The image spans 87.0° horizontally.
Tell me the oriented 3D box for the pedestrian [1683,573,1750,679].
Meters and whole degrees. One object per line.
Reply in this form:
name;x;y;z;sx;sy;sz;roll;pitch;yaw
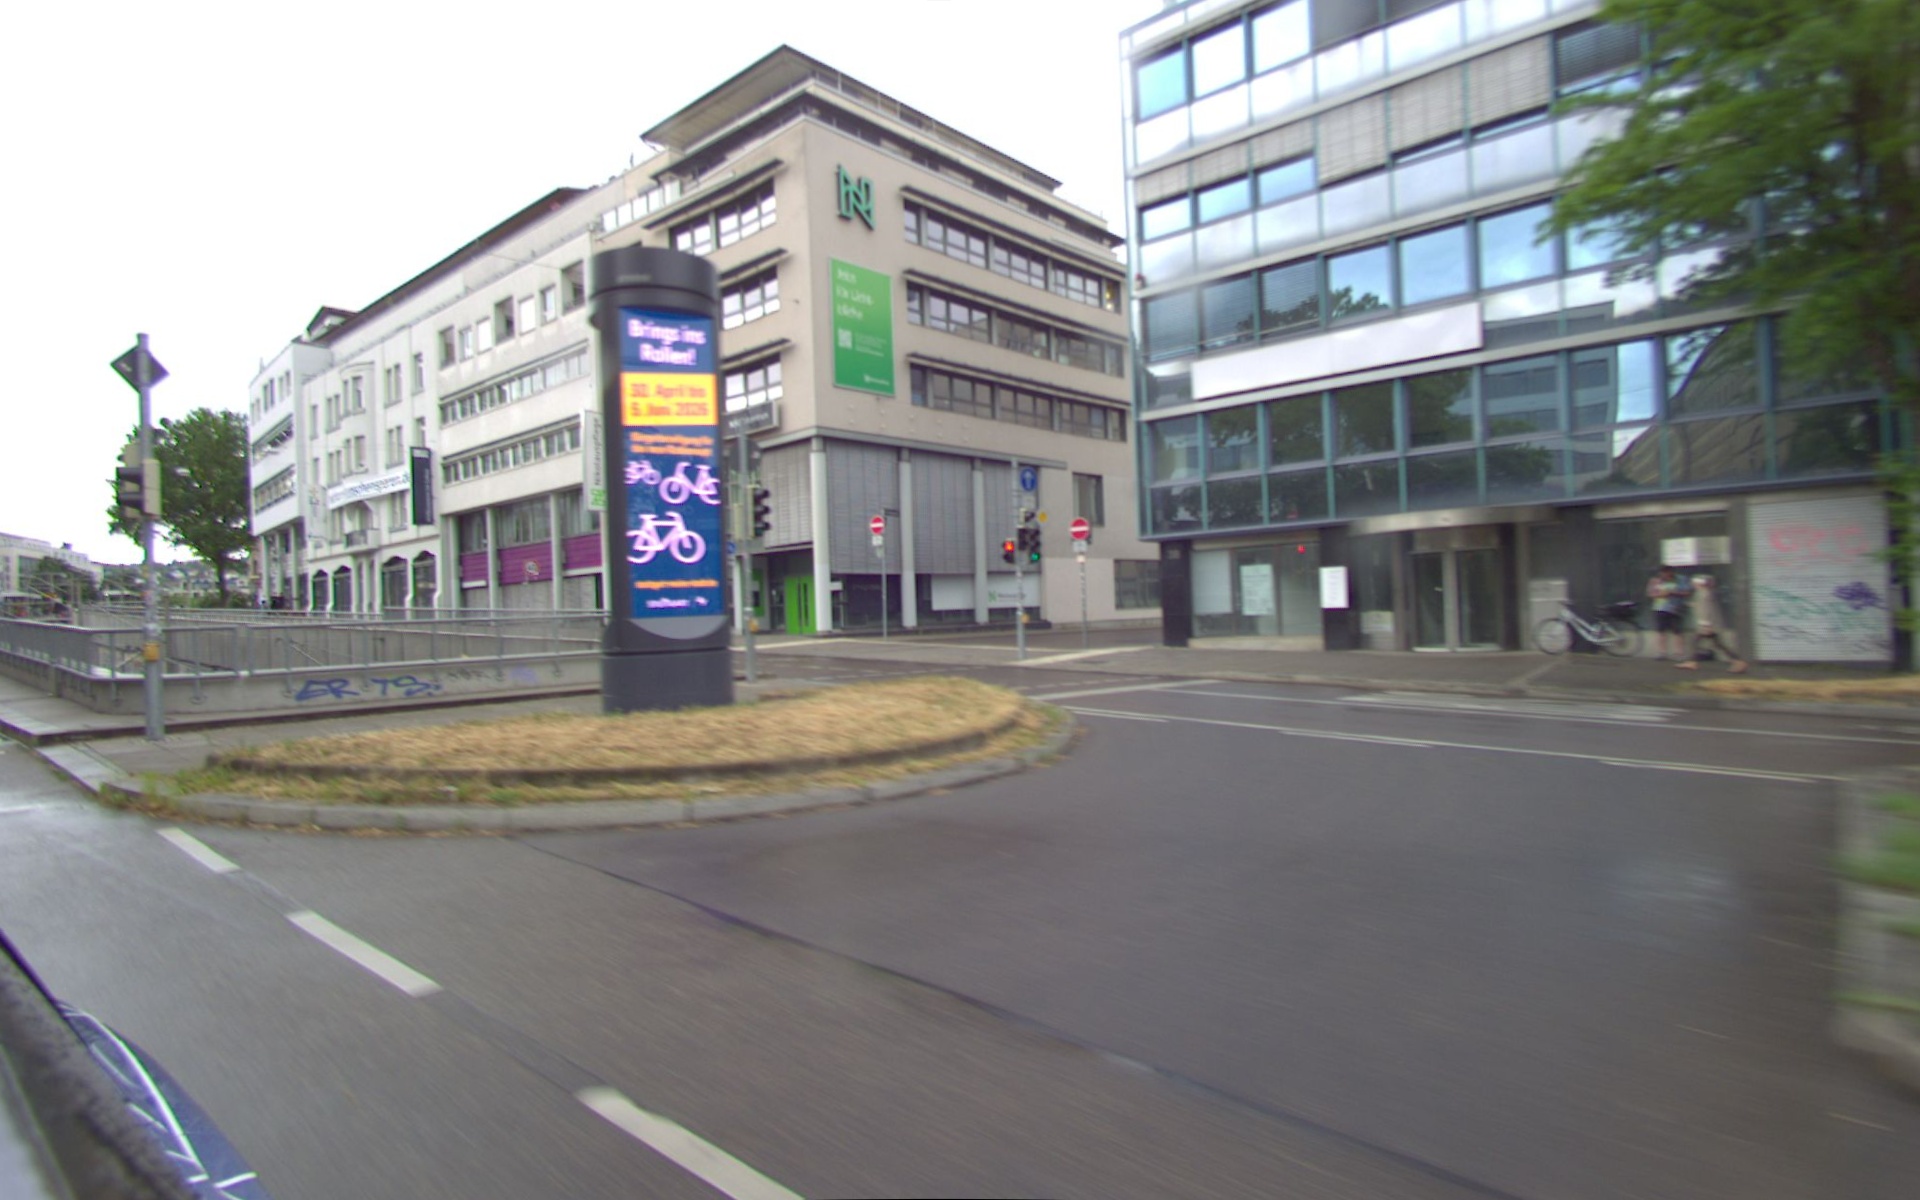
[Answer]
pedestrian;12.871;0.424;17.224;0.876;1.754;0.686;-1;1;39

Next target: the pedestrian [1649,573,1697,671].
pedestrian;13.207;0.394;18.762;0.694;1.754;0.689;-1;1;35

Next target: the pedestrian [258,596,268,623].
pedestrian;-47.183;0.668;68.493;0.463;1.816;0.548;-2;1;-42

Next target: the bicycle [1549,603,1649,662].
bicycle;12.378;0.618;19.636;0.441;1.093;1.566;0;-1;-45

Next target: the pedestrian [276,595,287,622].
pedestrian;-45.878;0.590;68.443;0.547;1.816;0.463;-1;1;44

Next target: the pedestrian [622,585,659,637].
pedestrian;-11.828;0.397;37.447;1.059;1.852;0.848;-1;1;41

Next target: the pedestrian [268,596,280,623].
pedestrian;-46.893;0.675;69.192;0.469;1.816;0.541;-1;1;33
